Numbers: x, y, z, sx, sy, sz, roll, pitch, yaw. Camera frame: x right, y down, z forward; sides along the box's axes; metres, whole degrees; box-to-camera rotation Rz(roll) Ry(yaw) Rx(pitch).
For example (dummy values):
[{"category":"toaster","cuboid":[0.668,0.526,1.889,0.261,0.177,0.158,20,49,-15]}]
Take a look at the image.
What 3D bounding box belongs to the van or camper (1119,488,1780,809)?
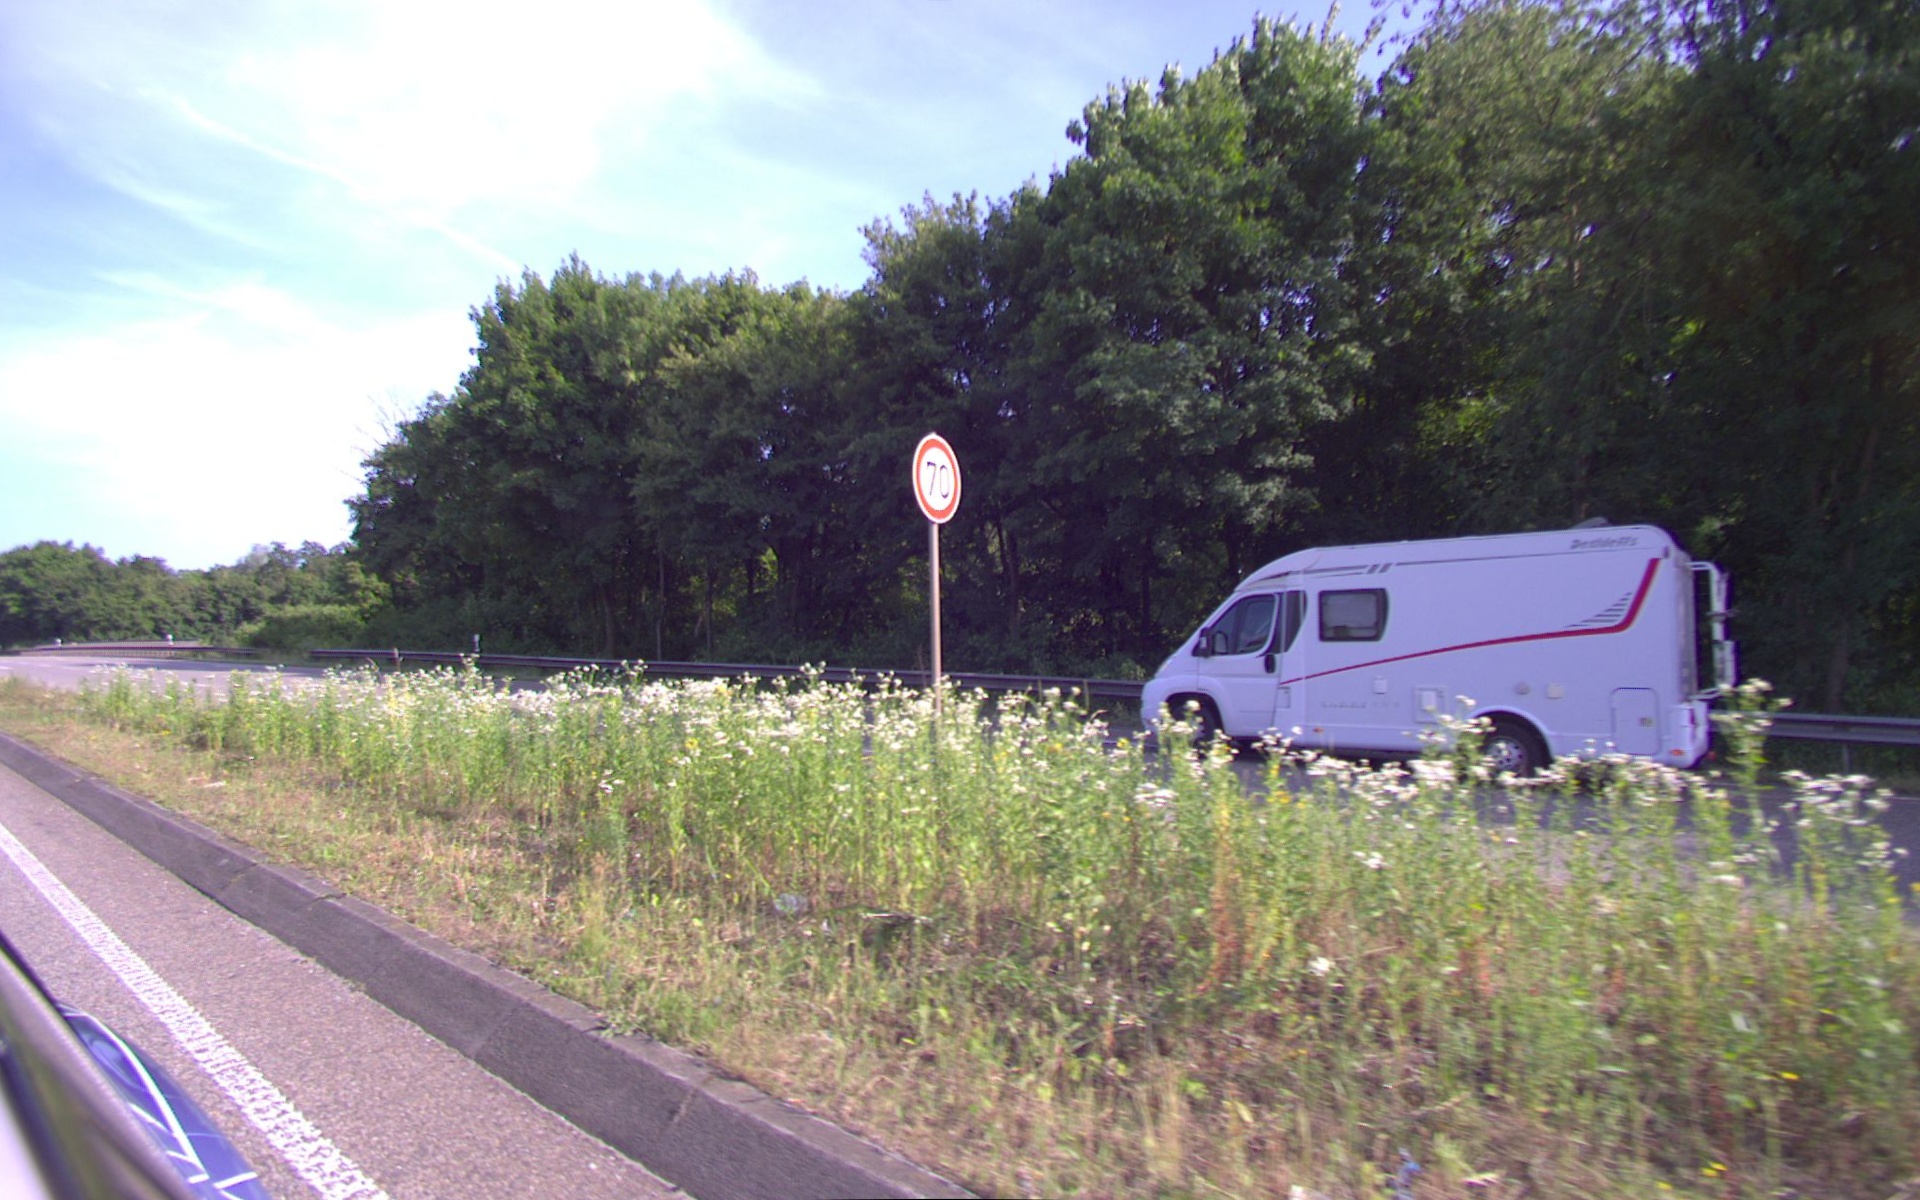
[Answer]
[{"category":"van or camper","cuboid":[5.228,0.530,11.646,6.434,2.732,2.387,-1,-4,41]}]
